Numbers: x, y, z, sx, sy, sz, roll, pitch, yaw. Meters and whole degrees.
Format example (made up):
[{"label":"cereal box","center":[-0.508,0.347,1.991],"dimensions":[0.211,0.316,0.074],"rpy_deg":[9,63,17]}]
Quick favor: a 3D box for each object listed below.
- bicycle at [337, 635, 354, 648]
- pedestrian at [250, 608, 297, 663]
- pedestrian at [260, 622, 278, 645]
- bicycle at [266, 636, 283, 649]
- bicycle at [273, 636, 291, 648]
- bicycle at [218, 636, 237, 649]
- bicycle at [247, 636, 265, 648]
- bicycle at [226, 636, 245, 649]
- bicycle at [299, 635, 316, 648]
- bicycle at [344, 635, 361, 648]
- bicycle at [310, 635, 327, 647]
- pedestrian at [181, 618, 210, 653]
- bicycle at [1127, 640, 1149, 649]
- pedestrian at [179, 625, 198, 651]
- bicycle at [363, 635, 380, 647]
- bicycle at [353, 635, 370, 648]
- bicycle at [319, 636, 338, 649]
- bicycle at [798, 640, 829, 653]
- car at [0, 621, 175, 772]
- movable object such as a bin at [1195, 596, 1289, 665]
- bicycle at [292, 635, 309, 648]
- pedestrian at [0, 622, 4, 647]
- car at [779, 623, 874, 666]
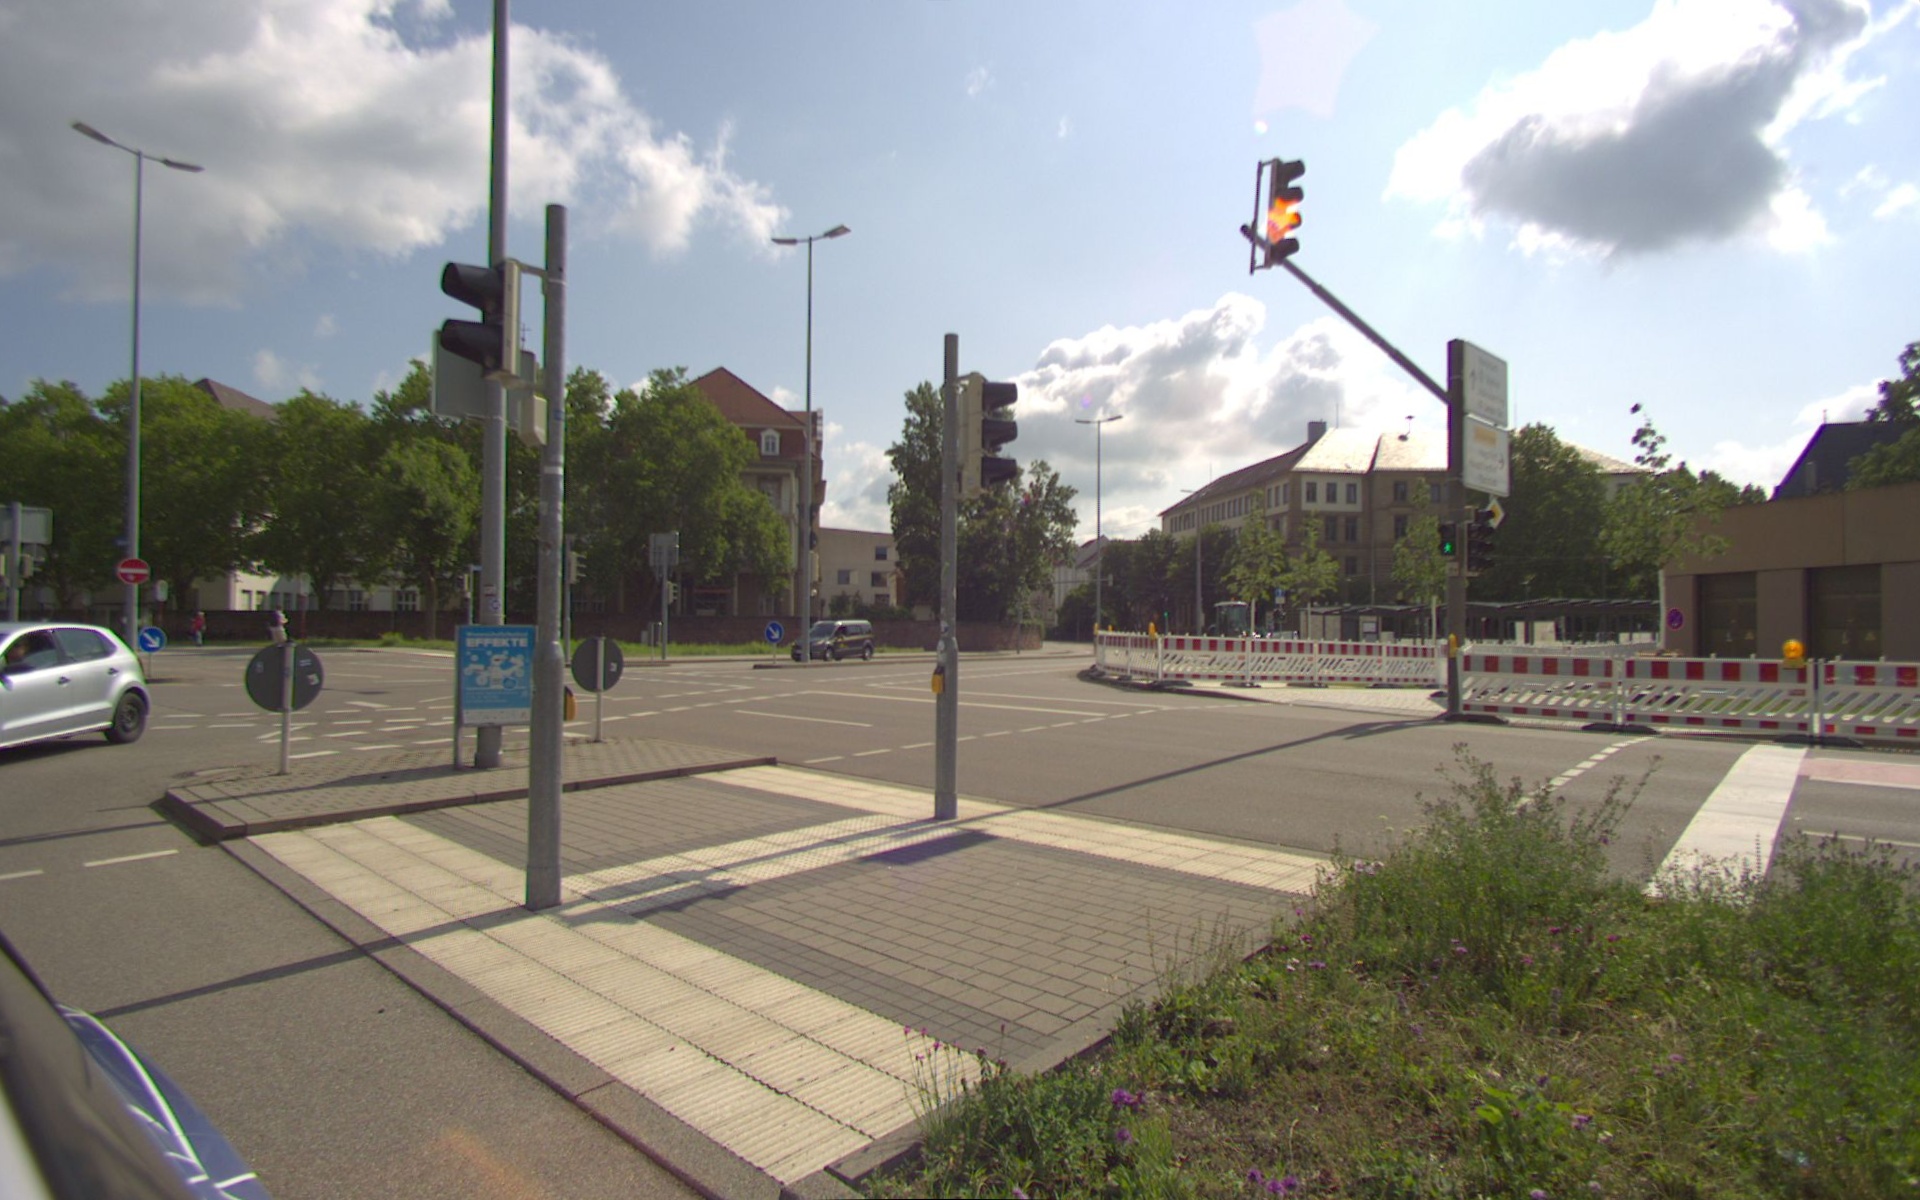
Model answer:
[{"label":"bicycle","center":[-41.622,2.827,68.520],"dimensions":[0.476,0.855,0.972],"rpy_deg":[1,-2,5]},{"label":"pedestrian","center":[-23.645,1.222,34.873],"dimensions":[0.693,1.871,1.174],"rpy_deg":[-2,-2,16]},{"label":"pedestrian","center":[-46.621,2.242,68.256],"dimensions":[0.714,1.545,0.726],"rpy_deg":[0,-2,1]},{"label":"bicycle","center":[-46.715,2.882,68.972],"dimensions":[0.476,0.855,0.972],"rpy_deg":[1,-2,5]},{"label":"bicycle","center":[-46.168,2.866,68.940],"dimensions":[0.476,0.855,0.972],"rpy_deg":[1,-2,5]},{"label":"bicycle","center":[-50.156,2.925,69.300],"dimensions":[0.476,0.855,0.972],"rpy_deg":[1,-2,5]},{"label":"bicycle","center":[-48.053,2.858,69.100],"dimensions":[0.476,0.855,0.972],"rpy_deg":[1,-2,5]},{"label":"bicycle","center":[-49.585,2.908,69.275],"dimensions":[0.476,0.855,0.972],"rpy_deg":[1,-2,5]},{"label":"bicycle","center":[-44.306,2.802,68.742],"dimensions":[0.476,0.855,0.972],"rpy_deg":[1,-2,5]},{"label":"bicycle","center":[-41.061,2.805,68.387],"dimensions":[0.476,0.855,0.972],"rpy_deg":[1,-2,5]},{"label":"bicycle","center":[-43.578,2.783,68.720],"dimensions":[0.476,0.855,0.972],"rpy_deg":[1,-2,5]},{"label":"pedestrian","center":[-39.147,1.799,51.856],"dimensions":[0.957,1.793,0.745],"rpy_deg":[0,-1,16]},{"label":"bicycle","center":[25.241,6.260,143.685],"dimensions":[2.888,1.216,1.061],"rpy_deg":[-1,0,34]},{"label":"pedestrian","center":[-51.848,2.571,68.011],"dimensions":[0.734,1.736,0.662],"rpy_deg":[1,-2,8]},{"label":"bicycle","center":[-39.758,2.768,68.352],"dimensions":[0.476,0.855,0.972],"rpy_deg":[1,-2,5]},{"label":"bicycle","center":[-40.433,2.807,68.338],"dimensions":[0.476,0.855,0.972],"rpy_deg":[1,-2,5]},{"label":"bicycle","center":[-42.771,2.873,68.555],"dimensions":[0.493,0.855,1.072],"rpy_deg":[0,-2,5]},{"label":"bicycle","center":[-10.293,3.240,70.969],"dimensions":[2.025,0.867,0.861],"rpy_deg":[2,-1,-20]},{"label":"car","center":[-10.174,0.944,10.318],"dimensions":[1.630,1.453,4.012],"rpy_deg":[0,-2,-8]},{"label":"movable object such as a bin","center":[12.659,1.395,45.697],"dimensions":[1.966,2.972,4.464],"rpy_deg":[1,-2,-17]},{"label":"bicycle","center":[-44.857,2.824,68.849],"dimensions":[0.476,0.855,0.972],"rpy_deg":[1,-2,5]},{"label":"pedestrian","center":[-68.459,2.486,71.584],"dimensions":[0.759,1.793,0.888],"rpy_deg":[-1,3,-3]},{"label":"car","center":[-5.798,1.983,44.671],"dimensions":[1.846,1.799,4.627],"rpy_deg":[-2,-3,28]}]
